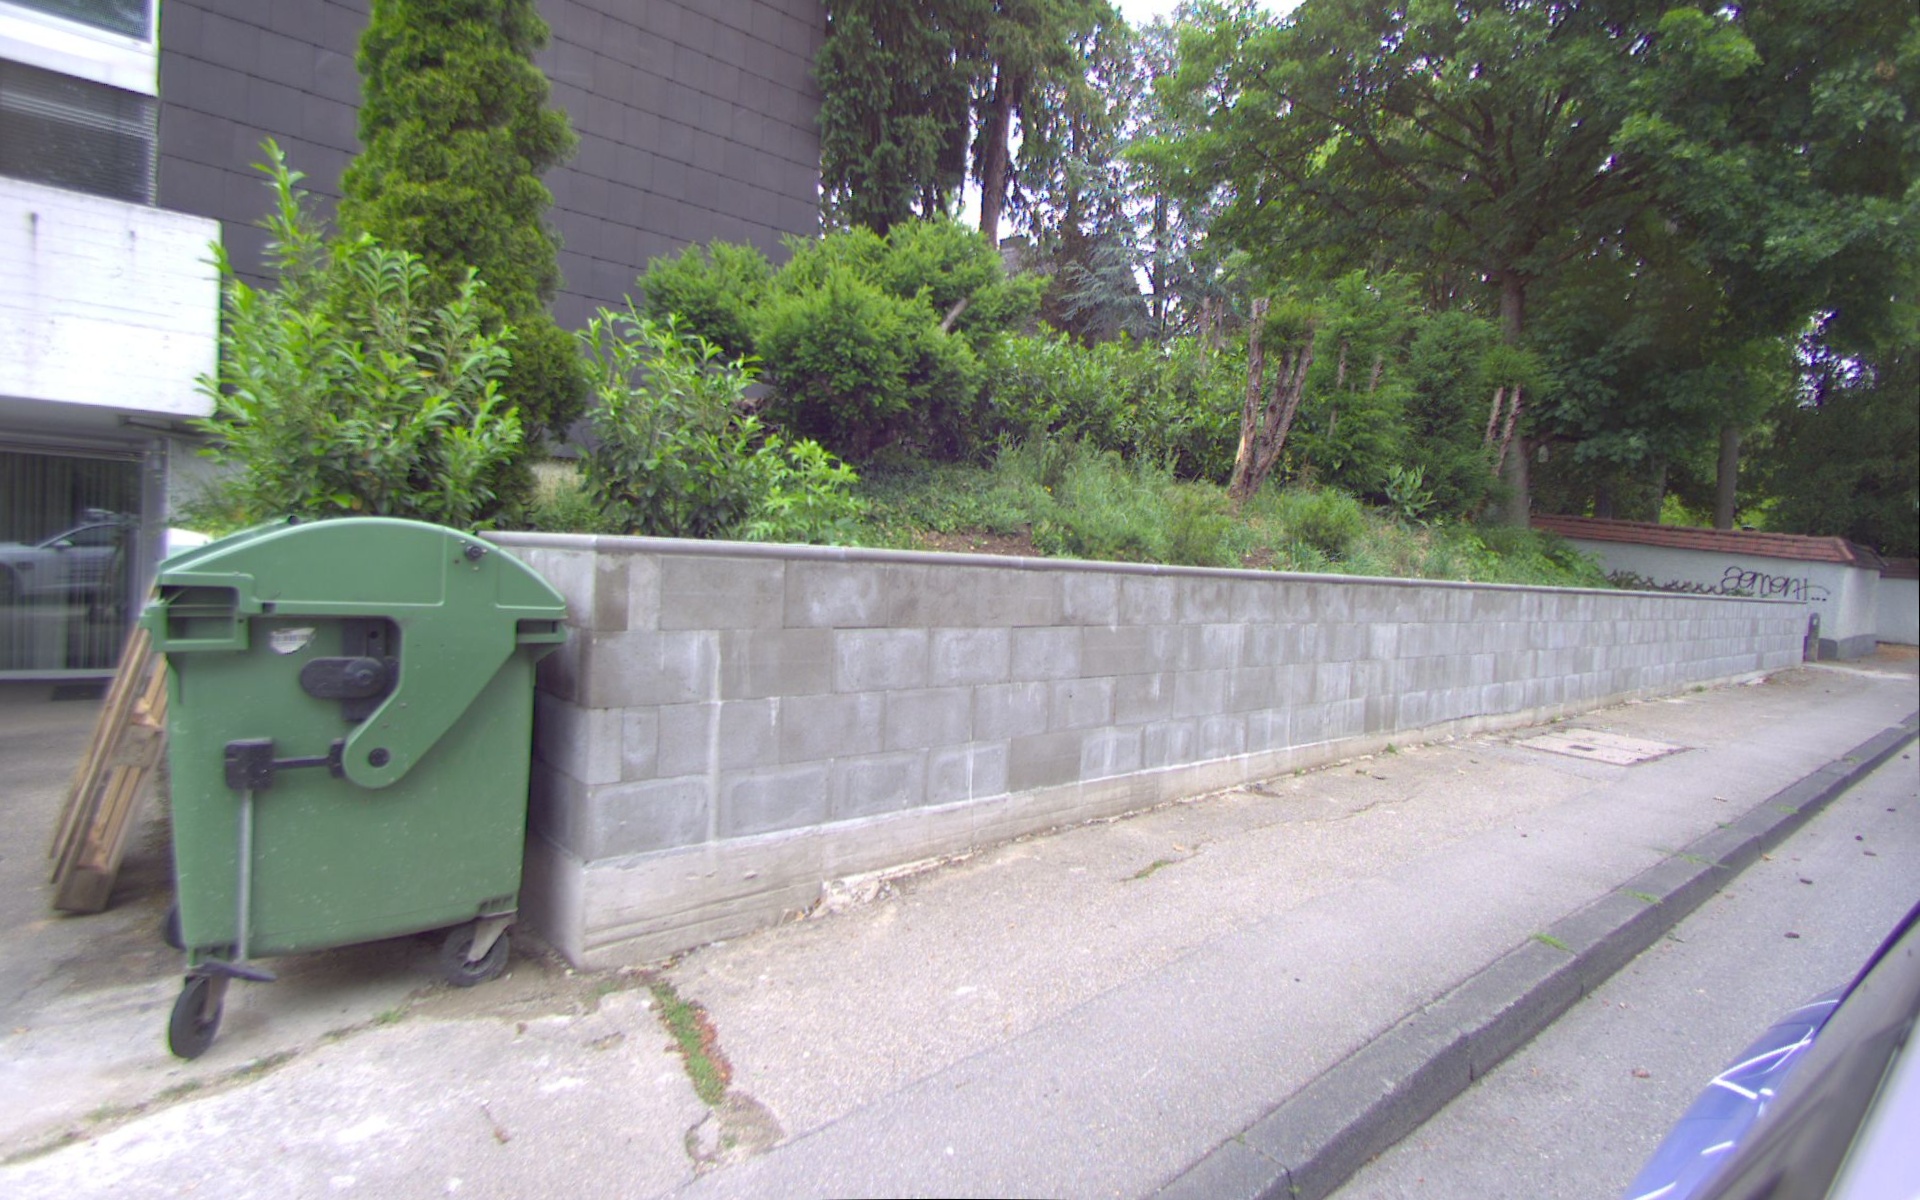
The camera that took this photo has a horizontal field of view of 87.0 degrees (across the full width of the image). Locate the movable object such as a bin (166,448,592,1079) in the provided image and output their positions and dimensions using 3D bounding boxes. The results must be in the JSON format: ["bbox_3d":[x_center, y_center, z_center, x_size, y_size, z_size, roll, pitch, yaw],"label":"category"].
[{"bbox_3d":[-1.858,0.378,3.196,1.014,1.549,1.037,0,2,-39],"label":"movable object such as a bin"}]
